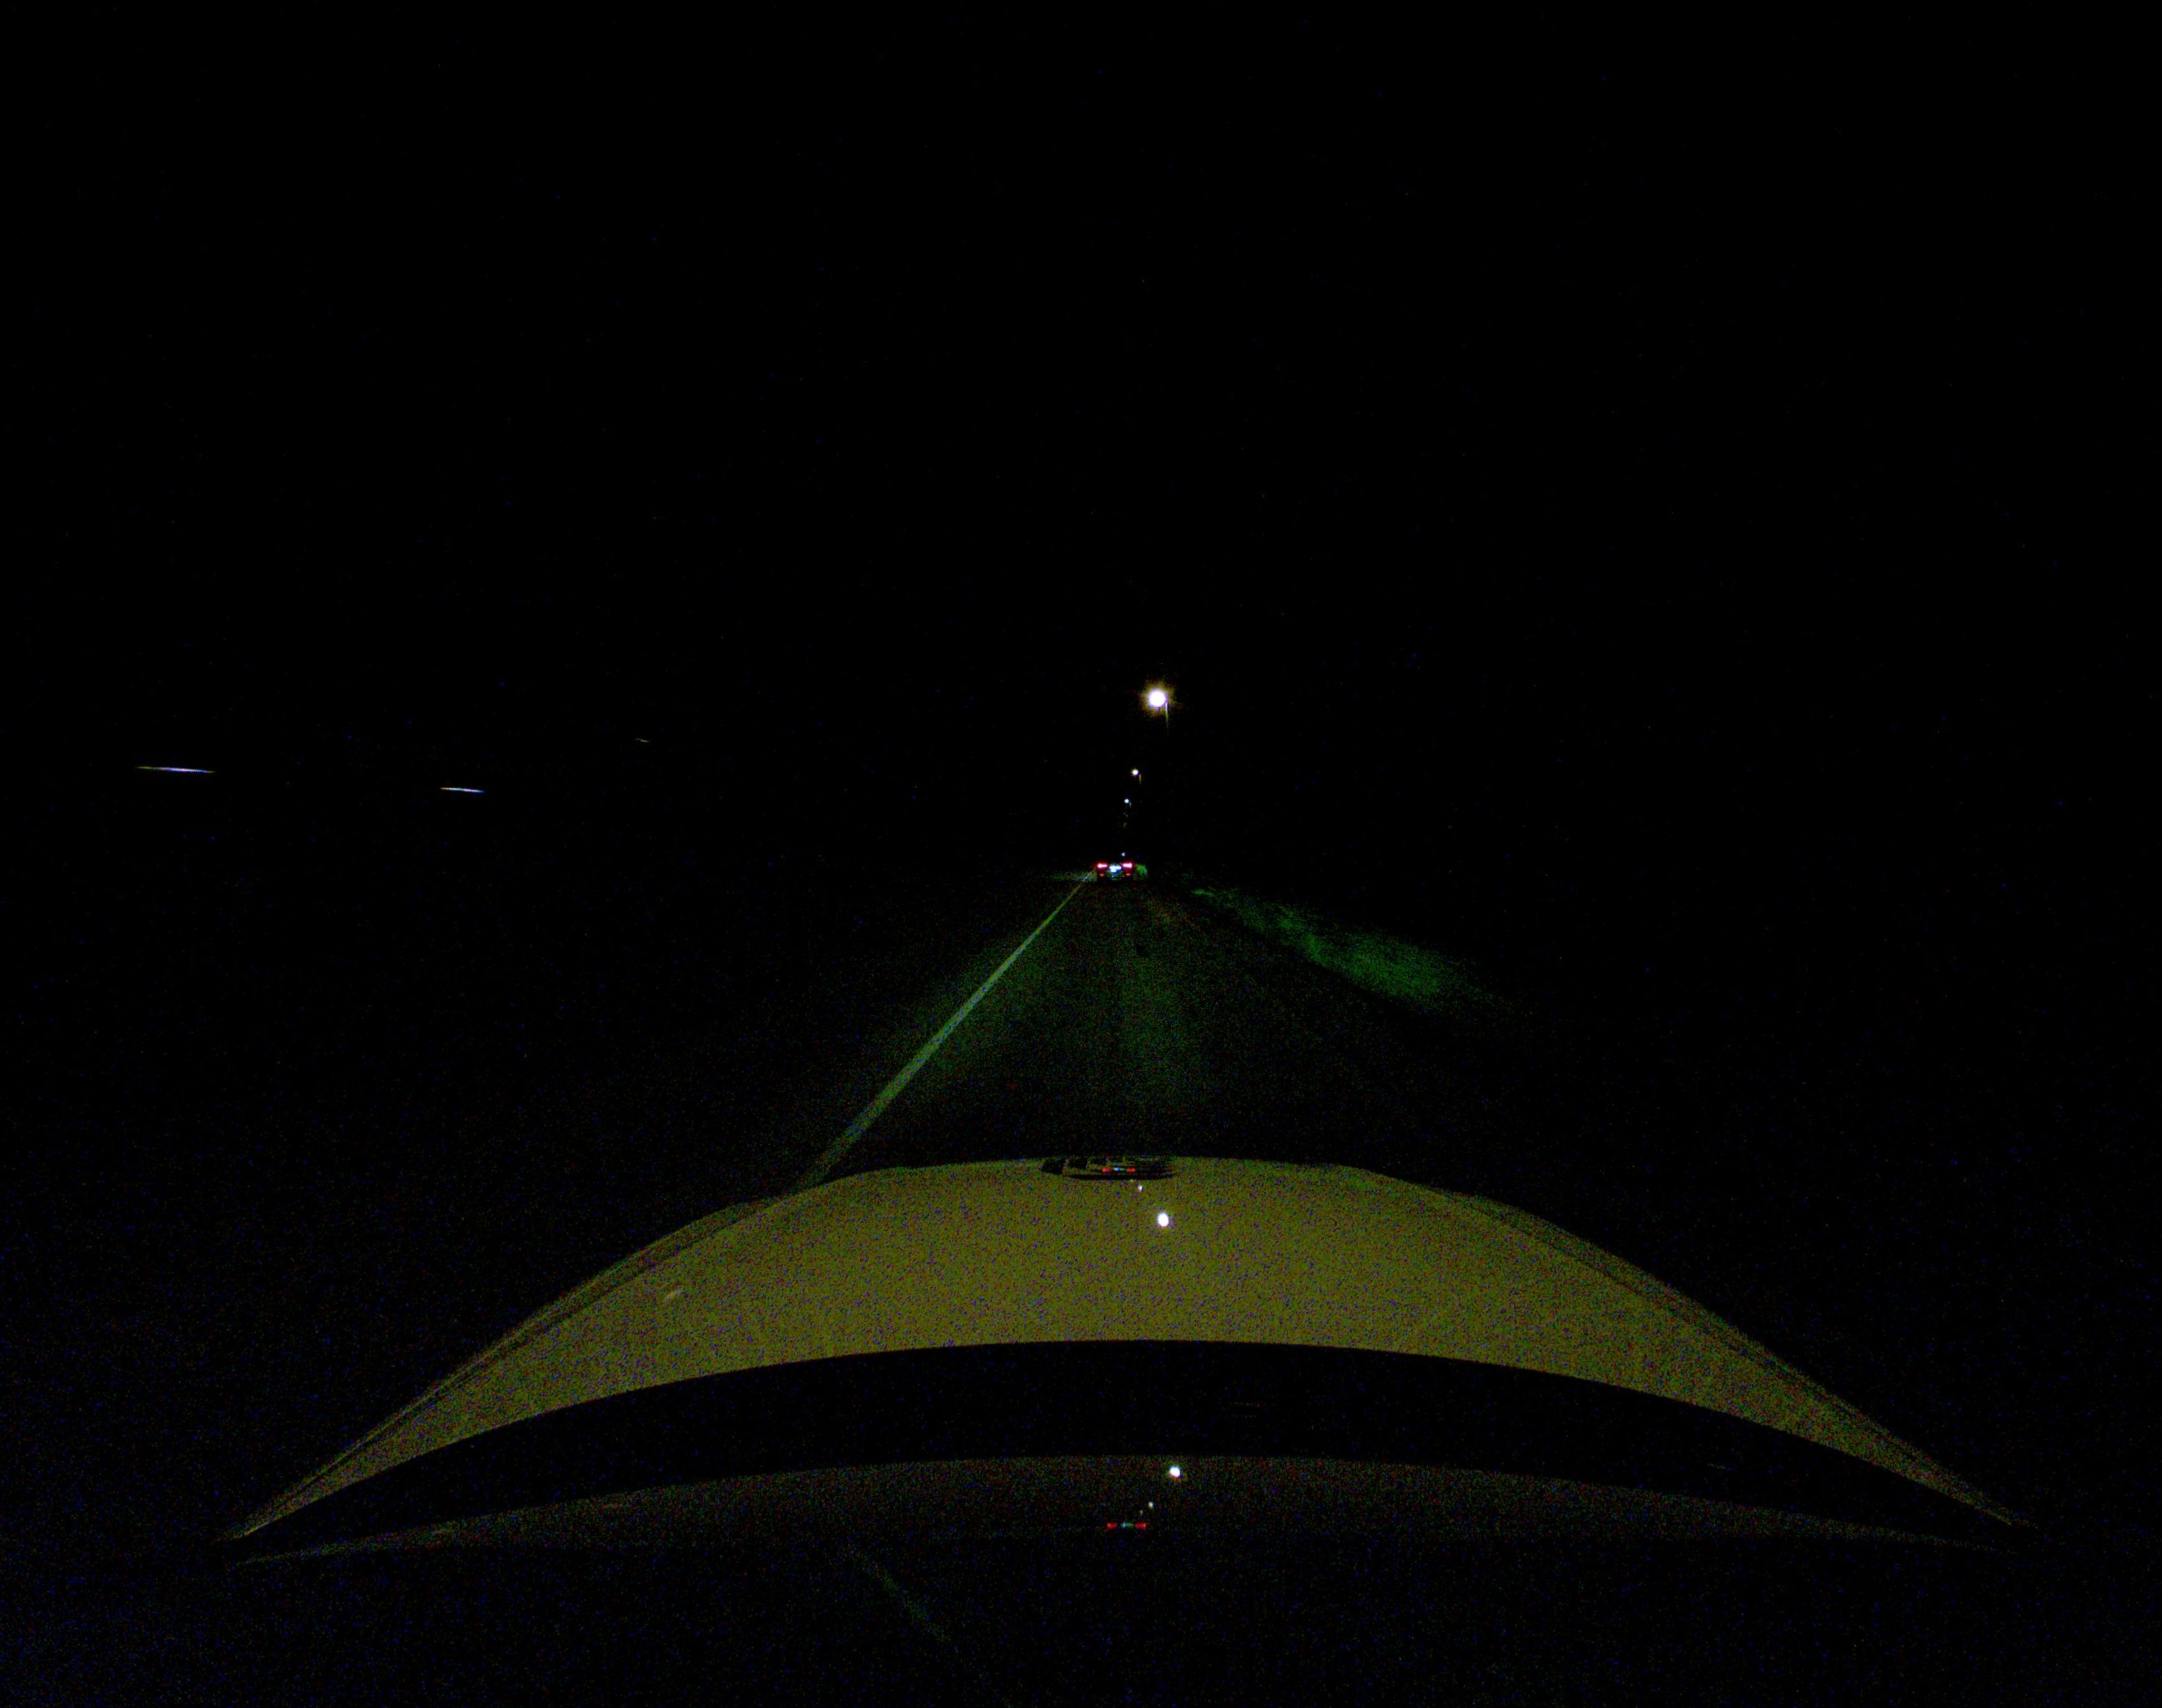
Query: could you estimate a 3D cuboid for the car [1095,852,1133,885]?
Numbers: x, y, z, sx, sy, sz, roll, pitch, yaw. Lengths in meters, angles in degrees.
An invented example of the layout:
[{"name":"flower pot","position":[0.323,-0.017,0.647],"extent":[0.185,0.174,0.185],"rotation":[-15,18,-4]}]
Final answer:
[{"name":"car","position":[1.634,0.686,41.293],"extent":[1.809,1.573,3.943],"rotation":[0,0,0]}]
